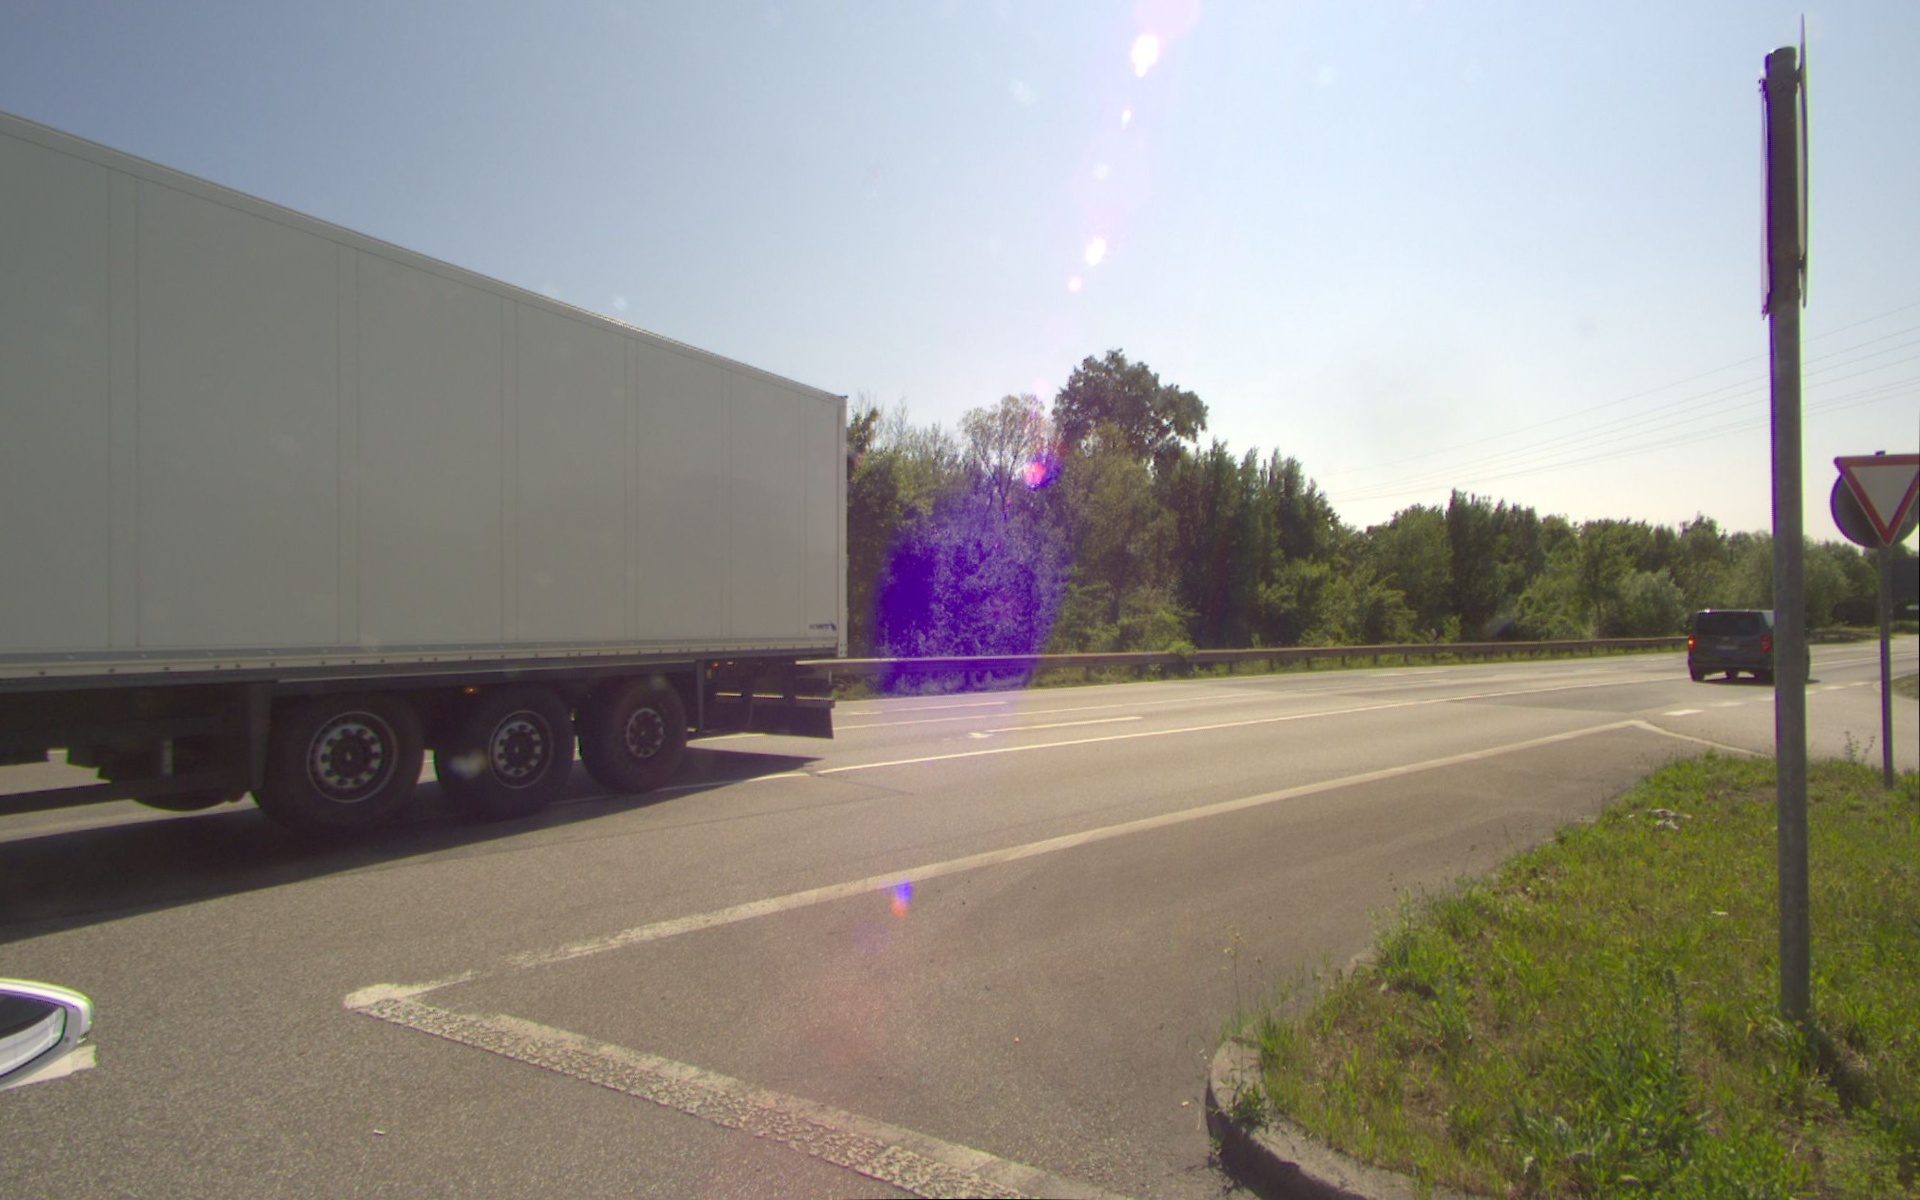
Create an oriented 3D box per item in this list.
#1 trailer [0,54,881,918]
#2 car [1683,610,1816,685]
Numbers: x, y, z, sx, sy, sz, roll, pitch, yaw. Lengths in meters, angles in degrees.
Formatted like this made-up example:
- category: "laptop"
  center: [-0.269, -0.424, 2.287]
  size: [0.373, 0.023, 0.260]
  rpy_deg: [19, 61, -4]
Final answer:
- category: "trailer"
  center: [-5.565, -0.533, 6.241]
  size: [2.852, 4.219, 13.921]
  rpy_deg: [0, -1, 29]
- category: "car"
  center: [21.927, 1.270, 27.735]
  size: [4.940, 1.903, 1.983]
  rpy_deg: [2, -2, -41]
